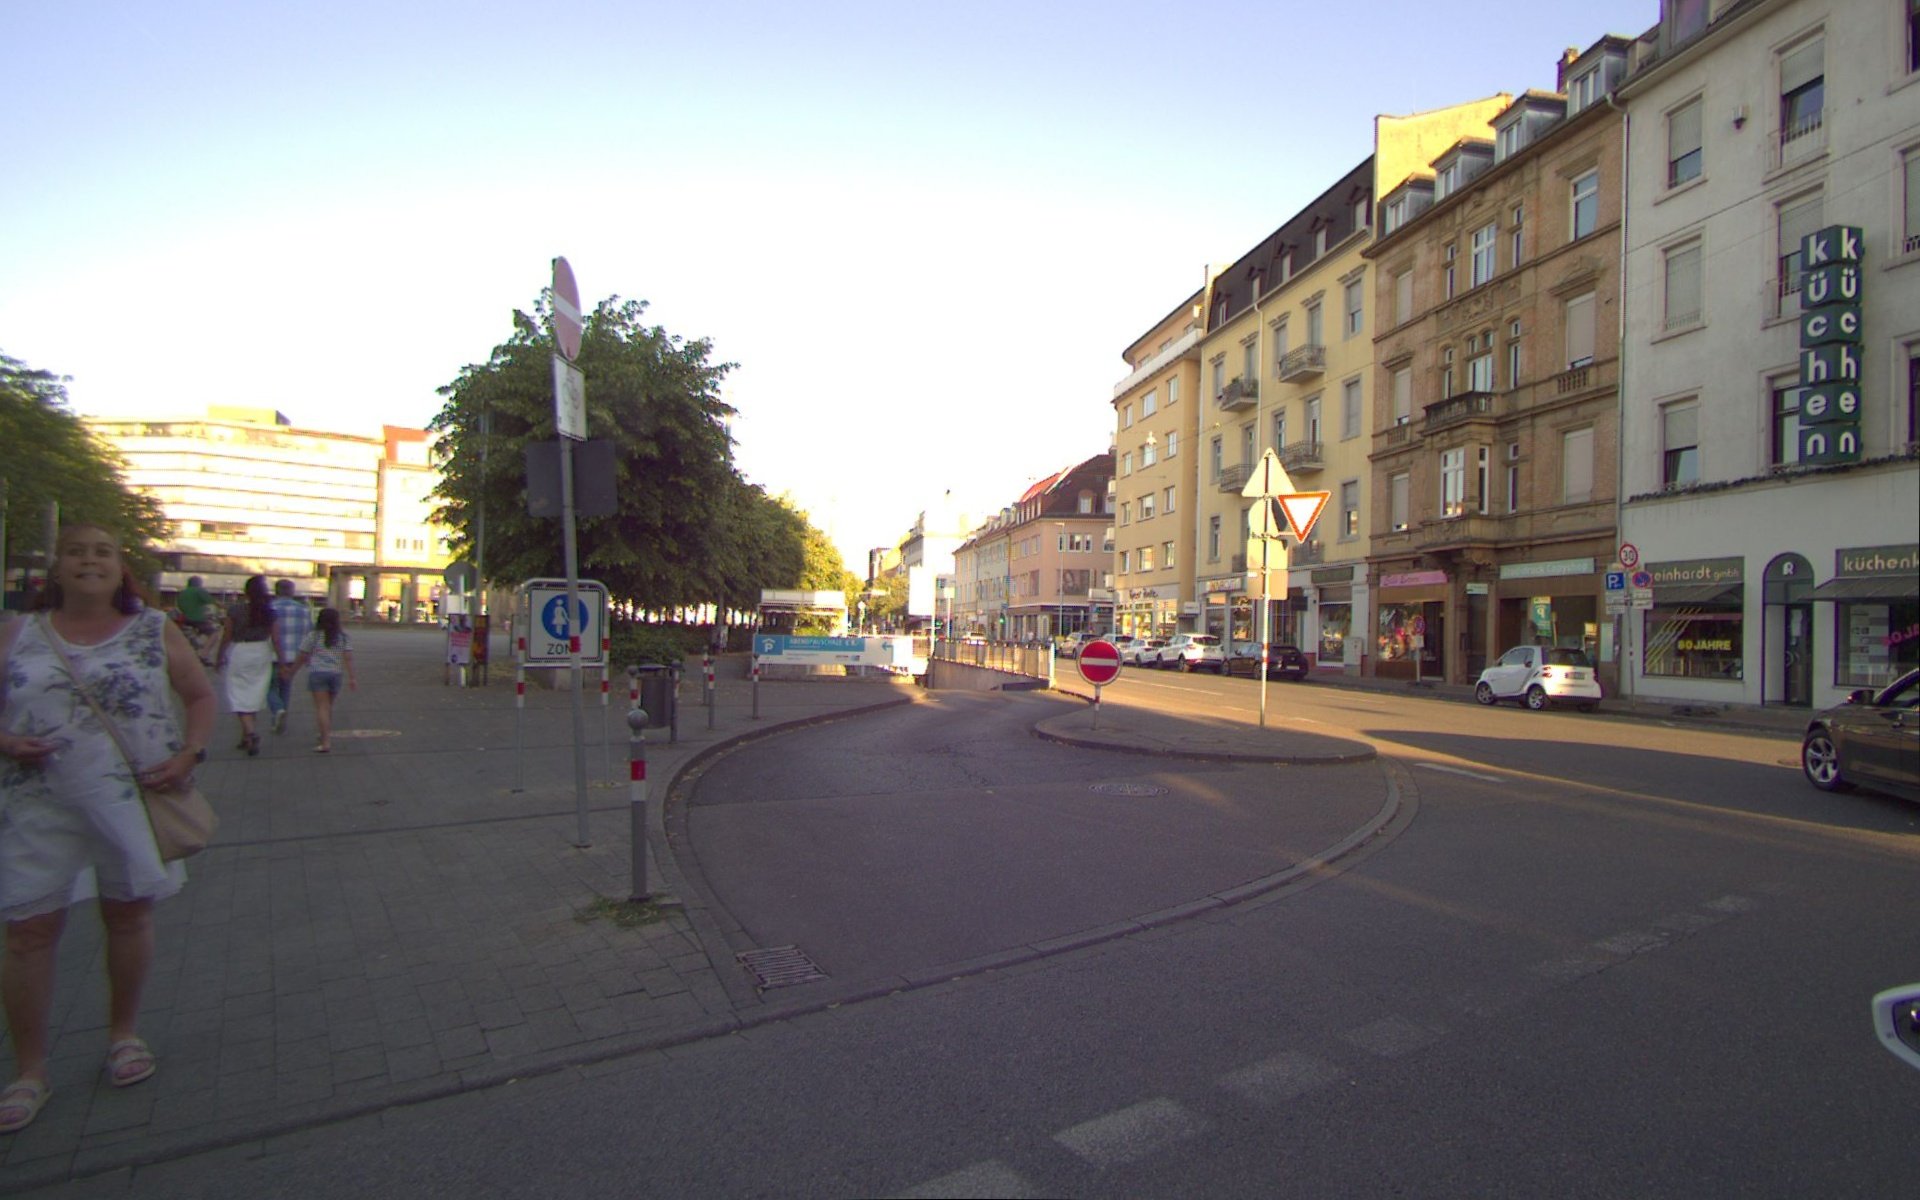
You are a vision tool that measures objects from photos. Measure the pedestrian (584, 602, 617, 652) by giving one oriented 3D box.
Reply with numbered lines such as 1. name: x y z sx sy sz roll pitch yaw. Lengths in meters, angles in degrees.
1. pedestrian: -15.242 1.146 42.590 0.896 2.040 0.919 2 -2 12

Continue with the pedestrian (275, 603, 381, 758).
1. pedestrian: -6.498 0.800 10.338 0.703 1.506 0.603 2 0 26

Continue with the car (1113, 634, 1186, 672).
1. car: 9.392 2.609 50.171 1.986 1.563 4.860 2 -1 -10

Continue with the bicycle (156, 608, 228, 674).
1. bicycle: -13.878 0.724 18.191 0.943 1.116 2.305 3 -2 -36

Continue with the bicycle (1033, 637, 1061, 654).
1. bicycle: 6.122 3.197 70.444 1.858 1.127 0.600 3 -2 -13

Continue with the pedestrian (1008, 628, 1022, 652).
1. pedestrian: 4.244 3.075 77.016 0.784 1.743 0.809 3 -2 -17

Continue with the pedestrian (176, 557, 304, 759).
1. pedestrian: -7.057 0.561 9.887 0.769 1.900 0.712 2 0 -16

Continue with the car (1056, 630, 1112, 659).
1. car: 7.567 2.694 61.830 1.965 1.634 4.793 2 -2 -12

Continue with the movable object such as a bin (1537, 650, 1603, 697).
1. movable object such as a bin: 16.882 2.027 27.828 0.853 1.202 1.395 2 -2 -11

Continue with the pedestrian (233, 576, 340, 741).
1. pedestrian: -7.591 0.638 11.336 0.675 1.769 0.715 2 0 26

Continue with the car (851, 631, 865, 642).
1. car: -15.994 5.747 157.682 1.857 1.505 3.994 3 -2 -9

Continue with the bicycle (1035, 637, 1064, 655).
1. bicycle: 6.239 3.214 69.917 1.858 1.127 0.520 3 -2 -14

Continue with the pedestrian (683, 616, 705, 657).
1. pedestrian: -13.170 1.819 49.676 0.789 1.973 0.731 2 -1 2

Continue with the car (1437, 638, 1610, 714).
1. car: 14.210 1.865 25.616 1.675 1.606 3.992 2 0 -10

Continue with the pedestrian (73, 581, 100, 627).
1. pedestrian: -37.947 0.187 43.641 0.724 1.973 0.796 3 -2 -37

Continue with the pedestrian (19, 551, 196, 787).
1. pedestrian: -7.335 0.557 8.652 0.876 1.878 0.981 2 0 39

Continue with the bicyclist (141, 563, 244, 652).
1. bicyclist: -13.803 0.152 18.114 1.368 1.529 0.746 3 -2 -35

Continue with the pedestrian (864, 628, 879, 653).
1. pedestrian: -6.544 2.981 74.001 0.872 1.743 0.712 3 -2 -22

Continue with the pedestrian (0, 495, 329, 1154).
1. pedestrian: -2.716 0.628 3.271 0.703 1.827 0.879 2 0 38

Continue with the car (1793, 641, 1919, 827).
1. car: 8.959 1.145 8.448 1.858 1.511 4.203 2 -2 23

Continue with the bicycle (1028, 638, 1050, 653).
1. bicycle: 5.731 3.302 72.770 1.480 1.039 0.511 1 -1 -15

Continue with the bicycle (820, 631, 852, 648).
1. bicycle: -8.269 2.651 66.823 2.015 0.983 0.634 5 -2 -13

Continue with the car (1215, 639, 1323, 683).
1. car: 11.802 2.307 38.775 1.964 1.453 4.842 3 -2 -10

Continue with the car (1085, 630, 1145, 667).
1. car: 8.525 2.636 55.670 1.841 1.785 4.399 2 0 -11

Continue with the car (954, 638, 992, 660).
1. car: 1.044 3.956 81.218 2.300 1.625 3.887 3 -2 -10

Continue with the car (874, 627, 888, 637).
1. car: -13.852 5.697 176.640 1.964 1.638 3.993 3 -2 -10

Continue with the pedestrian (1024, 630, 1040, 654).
1. pedestrian: 5.357 3.146 74.603 0.863 1.743 0.752 3 -2 -35

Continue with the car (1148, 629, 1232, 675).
1. car: 10.079 2.247 44.360 1.855 1.768 4.650 2 0 -11

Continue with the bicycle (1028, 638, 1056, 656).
1. bicycle: 5.846 3.332 71.357 1.858 1.183 0.721 2 -1 -14

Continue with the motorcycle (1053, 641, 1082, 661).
1. motorcycle: 7.204 3.428 67.135 1.787 1.280 0.714 1 -1 -13

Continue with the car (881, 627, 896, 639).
1. car: -11.964 5.505 167.603 1.964 1.803 3.993 3 -2 -10

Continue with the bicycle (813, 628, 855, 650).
1. bicycle: -8.009 2.462 64.051 2.460 1.301 0.816 2 -2 10

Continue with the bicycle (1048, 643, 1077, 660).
1. bicycle: 6.922 3.484 68.052 1.858 1.127 0.592 2 -1 -14

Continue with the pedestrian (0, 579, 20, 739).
1. pedestrian: -10.056 0.583 10.033 0.790 1.603 0.724 2 0 -32
